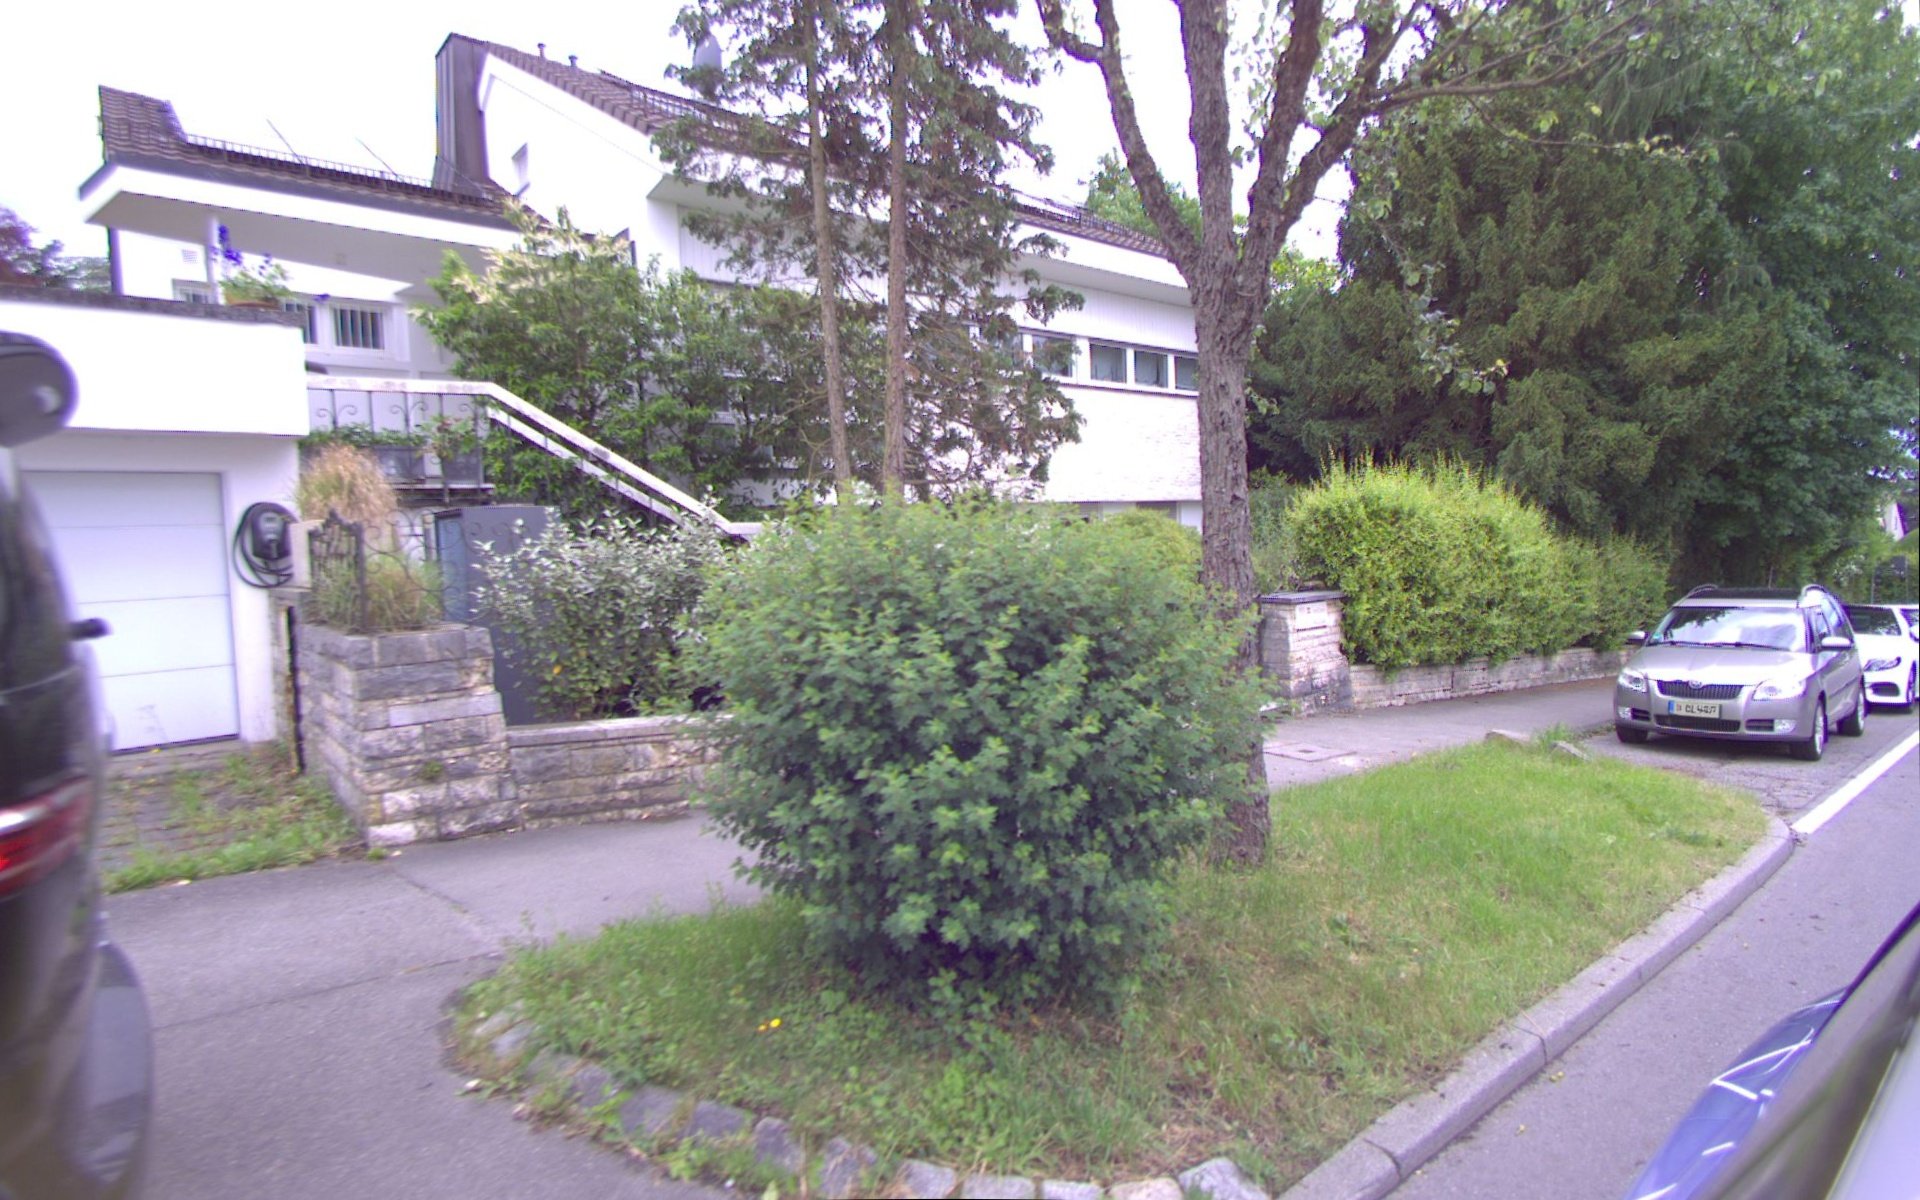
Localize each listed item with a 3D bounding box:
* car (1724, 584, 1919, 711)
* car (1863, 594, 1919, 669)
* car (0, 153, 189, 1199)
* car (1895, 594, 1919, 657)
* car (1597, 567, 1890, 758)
[{"bbox_3d":[13.205,0.579,14.945,4.916,1.510,1.998,0,2,-40],"label":"car"},{"bbox_3d":[21.114,0.628,21.993,4.087,1.527,1.700,0,0,-41],"label":"car"},{"bbox_3d":[-3.554,0.393,0.362,5.127,1.860,1.940,0,2,-41],"label":"car"},{"bbox_3d":[24.717,0.624,25.302,1.811,1.470,4.308,3,3,44],"label":"car"},{"bbox_3d":[8.339,0.526,10.662,3.860,1.653,1.720,0,0,-41],"label":"car"}]
